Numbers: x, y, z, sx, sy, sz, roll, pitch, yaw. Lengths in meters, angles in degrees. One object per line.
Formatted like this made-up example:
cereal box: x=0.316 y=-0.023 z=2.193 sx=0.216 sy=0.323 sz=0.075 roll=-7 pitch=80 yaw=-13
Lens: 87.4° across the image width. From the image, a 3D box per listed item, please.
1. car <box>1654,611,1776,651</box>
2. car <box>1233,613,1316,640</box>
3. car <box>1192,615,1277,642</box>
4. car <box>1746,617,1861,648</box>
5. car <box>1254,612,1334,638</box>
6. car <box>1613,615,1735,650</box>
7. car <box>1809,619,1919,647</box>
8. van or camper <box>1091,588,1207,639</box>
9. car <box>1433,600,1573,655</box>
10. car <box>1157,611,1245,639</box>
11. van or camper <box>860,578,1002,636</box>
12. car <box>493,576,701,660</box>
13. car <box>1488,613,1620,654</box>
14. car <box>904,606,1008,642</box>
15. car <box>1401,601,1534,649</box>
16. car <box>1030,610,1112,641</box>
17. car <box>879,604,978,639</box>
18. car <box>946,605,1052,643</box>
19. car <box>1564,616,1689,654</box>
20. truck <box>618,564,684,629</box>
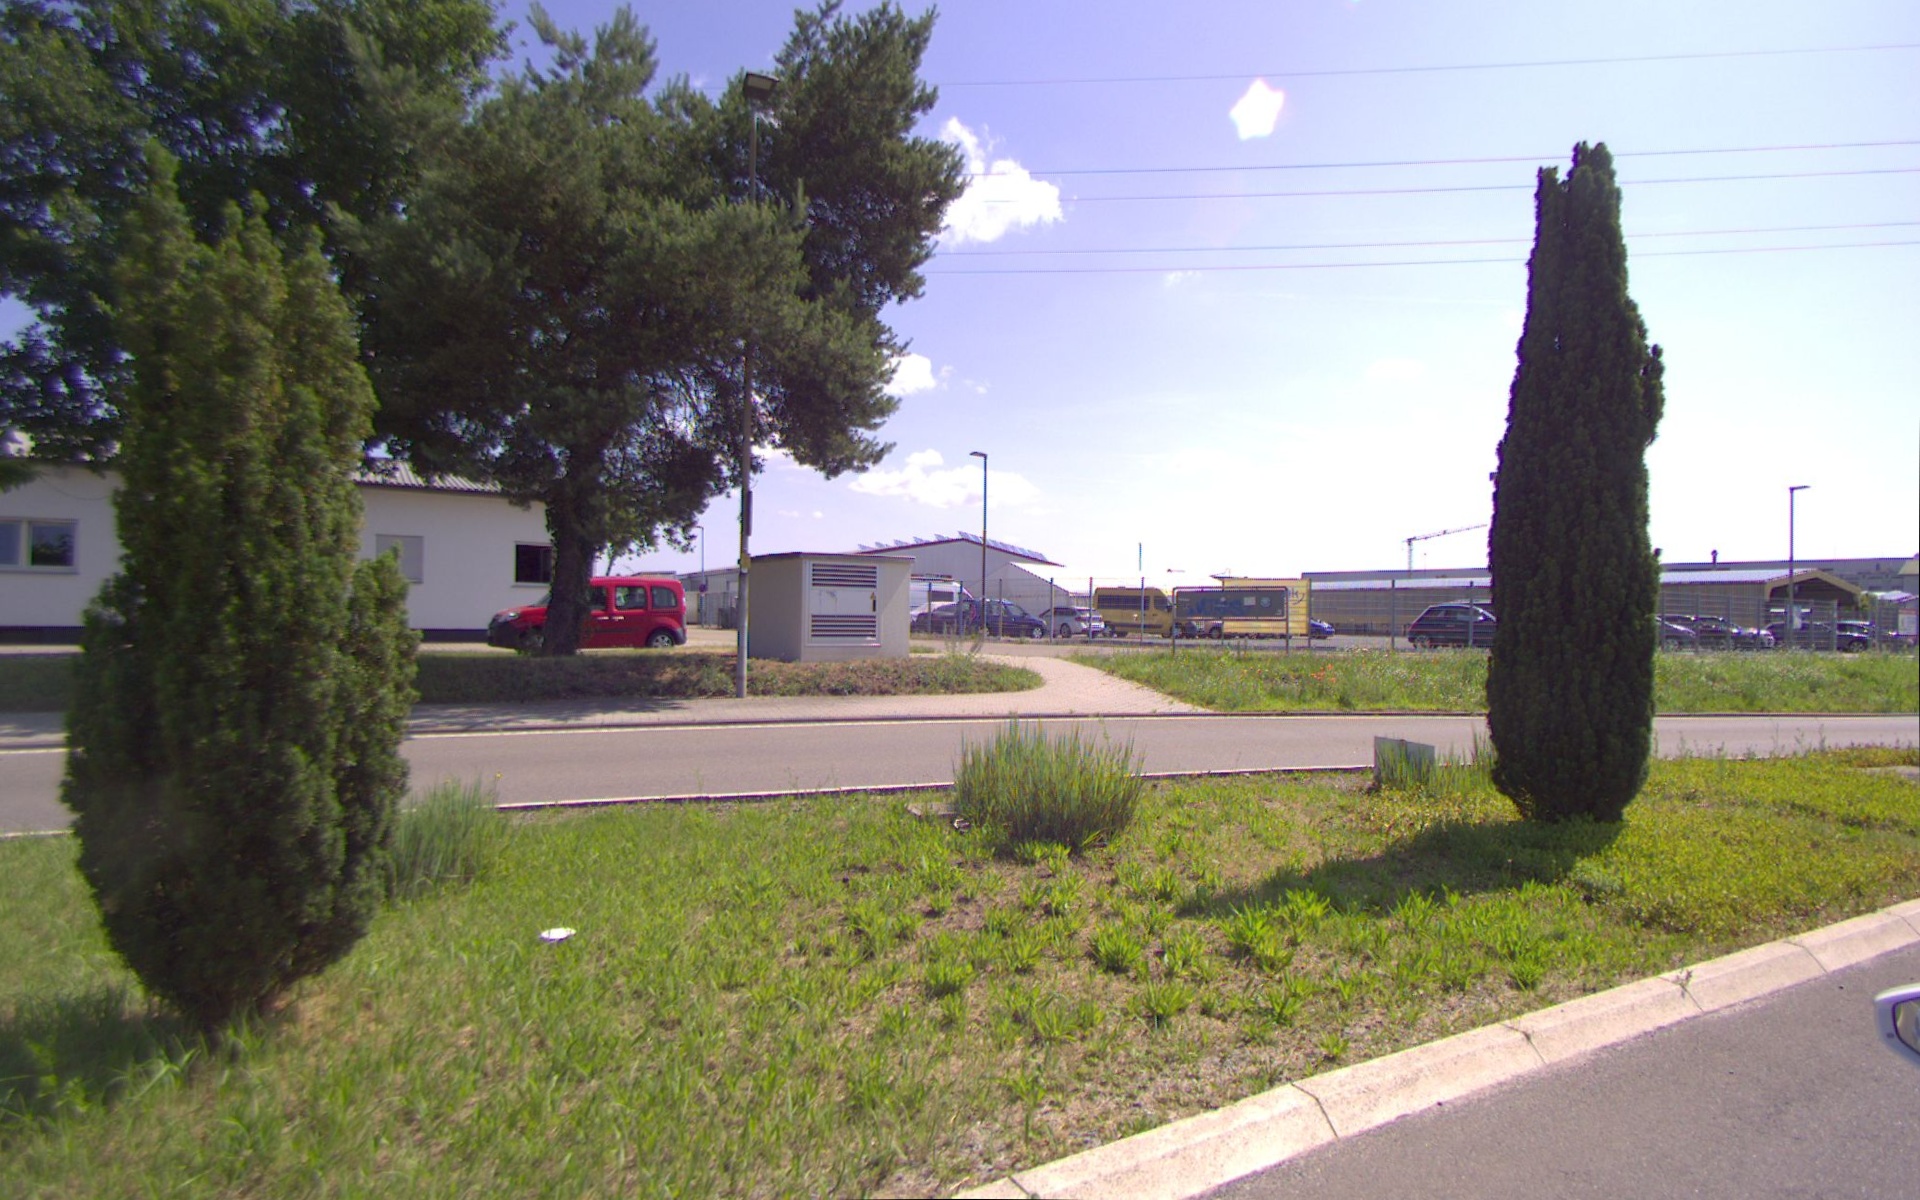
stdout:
car: x=31.929 y=1.269 z=42.627 sx=3.931 sy=1.561 sz=1.938 roll=1 pitch=0 yaw=32
car: x=16.981 y=1.411 z=54.334 sx=3.931 sy=1.327 sz=1.938 roll=1 pitch=-1 yaw=32
car: x=14.351 y=1.475 z=52.591 sx=3.931 sy=1.327 sz=1.938 roll=1 pitch=0 yaw=32
car: x=40.088 y=1.516 z=47.861 sx=3.931 sy=1.327 sz=1.938 roll=1 pitch=0 yaw=32
car: x=18.832 y=1.397 z=56.686 sx=3.931 sy=1.327 sz=1.938 roll=1 pitch=0 yaw=32
car: x=28.872 y=1.296 z=40.765 sx=3.933 sy=1.327 sz=1.937 roll=0 pitch=-1 yaw=34
car: x=45.758 y=1.643 z=50.888 sx=3.931 sy=1.327 sz=1.938 roll=0 pitch=-1 yaw=32
van or camper: x=9.253 y=0.645 z=49.314 sx=5.248 sy=2.407 sz=1.890 roll=1 pitch=-1 yaw=33
car: x=18.277 y=0.898 z=33.864 sx=4.038 sy=1.727 sz=1.719 roll=0 pitch=-1 yaw=32
car: x=12.226 y=1.251 z=50.944 sx=3.931 sy=1.327 sz=1.938 roll=1 pitch=0 yaw=32
van or camper: x=-1.339 y=0.368 z=48.183 sx=6.688 sy=2.634 sz=1.985 roll=1 pitch=-1 yaw=-29
car: x=-8.272 y=0.430 z=22.956 sx=4.181 sy=1.768 sz=1.983 roll=1 pitch=-1 yaw=-31
car: x=21.011 y=1.152 z=35.610 sx=3.931 sy=1.327 sz=1.938 roll=0 pitch=-1 yaw=32
car: x=-0.146 y=1.000 z=42.242 sx=3.952 sy=1.452 sz=1.911 roll=1 pitch=-1 yaw=-29
car: x=16.148 y=0.769 z=31.976 sx=3.514 sy=1.420 sz=1.794 roll=0 pitch=-1 yaw=38
car: x=5.127 y=1.164 z=46.798 sx=1.974 sy=1.327 sz=3.972 roll=1 pitch=-1 yaw=-27
car: x=-1.402 y=0.946 z=44.398 sx=3.952 sy=1.452 sz=1.911 roll=1 pitch=-1 yaw=-29
car: x=1.584 y=0.972 z=40.354 sx=3.960 sy=1.452 sz=1.907 roll=1 pitch=-1 yaw=-35
car: x=25.664 y=1.336 z=38.851 sx=3.931 sy=1.327 sz=1.938 roll=1 pitch=0 yaw=32
truck: x=-23.232 y=-0.221 z=75.122 sx=2.813 sy=4.577 sz=8.524 roll=1 pitch=-1 yaw=-30
